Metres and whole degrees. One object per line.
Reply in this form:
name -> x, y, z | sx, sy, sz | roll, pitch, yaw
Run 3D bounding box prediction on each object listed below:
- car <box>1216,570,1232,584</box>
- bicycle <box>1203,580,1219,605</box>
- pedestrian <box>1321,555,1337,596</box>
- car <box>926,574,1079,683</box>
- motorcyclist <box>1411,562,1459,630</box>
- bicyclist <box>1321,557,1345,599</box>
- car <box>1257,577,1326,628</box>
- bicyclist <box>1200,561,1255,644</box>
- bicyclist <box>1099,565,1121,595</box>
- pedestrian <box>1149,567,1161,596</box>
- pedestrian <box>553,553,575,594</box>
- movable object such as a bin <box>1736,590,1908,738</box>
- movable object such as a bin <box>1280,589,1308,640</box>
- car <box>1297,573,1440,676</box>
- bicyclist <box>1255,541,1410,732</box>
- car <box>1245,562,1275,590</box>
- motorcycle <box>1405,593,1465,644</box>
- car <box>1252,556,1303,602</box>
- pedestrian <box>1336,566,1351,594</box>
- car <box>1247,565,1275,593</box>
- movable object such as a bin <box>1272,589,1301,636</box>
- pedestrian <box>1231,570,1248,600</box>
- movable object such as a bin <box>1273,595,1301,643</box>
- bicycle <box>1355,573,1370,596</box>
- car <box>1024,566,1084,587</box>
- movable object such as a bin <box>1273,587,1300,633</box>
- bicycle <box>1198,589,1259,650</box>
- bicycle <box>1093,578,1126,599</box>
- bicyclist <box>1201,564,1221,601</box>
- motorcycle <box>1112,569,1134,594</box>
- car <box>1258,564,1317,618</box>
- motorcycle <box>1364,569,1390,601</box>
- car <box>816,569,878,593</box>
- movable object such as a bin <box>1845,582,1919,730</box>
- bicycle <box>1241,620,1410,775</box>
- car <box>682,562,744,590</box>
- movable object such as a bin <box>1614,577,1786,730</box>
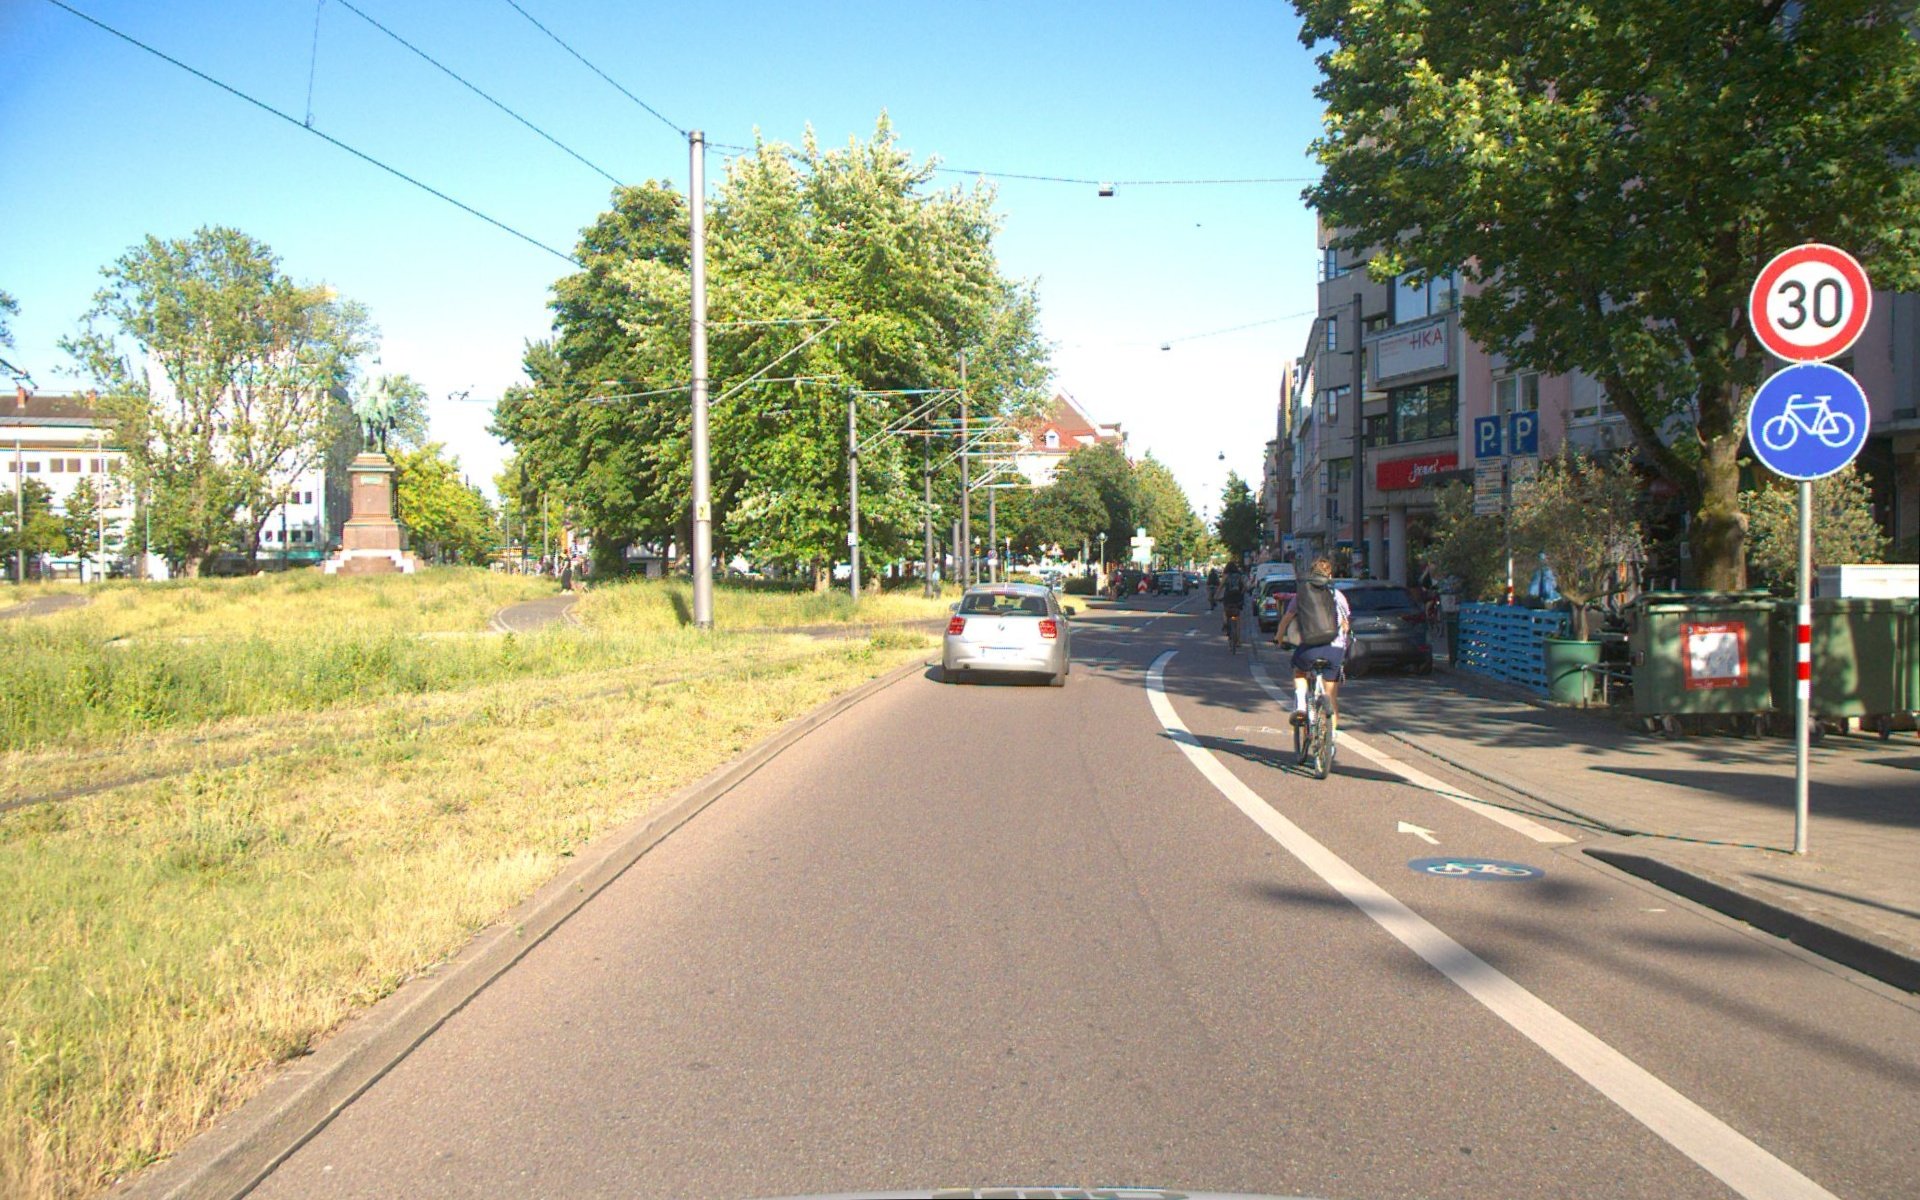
car -> 33.568, -2.925, 210.316 | 1.830, 1.583, 4.003 | 1, 0, 10
bicycle -> 10.268, -0.312, 67.691 | 0.638, 0.975, 2.700 | 1, 0, 8
pedestrian -> 17.111, -1.138, 76.754 | 0.656, 1.888, 0.611 | -3, -1, 13
car -> 0.729, 0.382, 24.578 | 1.951, 1.448, 4.199 | 1, 0, 6
motorcyclist -> 11.216, -0.096, 39.038 | 0.879, 1.578, 0.806 | 1, 0, 0
bicyclist -> 12.437, -0.729, 55.139 | 0.742, 1.349, 0.995 | 1, 0, 11
car -> 9.481, 0.067, 47.204 | 1.812, 1.367, 4.603 | 1, 0, 12
bicyclist -> 5.517, 0.049, 34.102 | 0.920, 1.662, 0.935 | 1, 0, -3
bicyclist -> 7.930, -1.053, 87.633 | 0.914, 1.533, 0.821 | 1, 0, -18
pedestrian -> 11.846, -1.126, 100.516 | 0.622, 1.701, 0.693 | 1, 0, 10
pedestrian -> -16.376, -1.094, 68.350 | 0.669, 1.644, 0.546 | 1, 0, -43
movable object such as a bin -> 8.318, 0.602, 15.990 | 1.152, 1.379, 0.924 | 1, 0, -13
movable object such as a bin -> 7.429, 0.317, 36.789 | 0.561, 1.101, 0.571 | 1, 0, 6
car -> 6.530, 0.337, 26.868 | 1.728, 1.463, 4.587 | -1, 1, 7
bicyclist -> 3.066, 0.294, 13.716 | 1.017, 1.510, 0.988 | 1, 0, -2
car -> 22.086, -1.792, 121.898 | 1.951, 2.039, 5.122 | 0, 1, 8
motorcycle -> 11.198, 0.420, 39.067 | 0.760, 1.146, 2.298 | 1, 0, 0
car -> 13.202, -0.840, 68.925 | 1.951, 1.844, 4.313 | 1, 0, 9
pedestrian -> 17.762, -0.908, 76.554 | 0.616, 1.258, 0.625 | -2, -1, 13
car -> 20.299, -1.381, 111.653 | 1.708, 1.769, 4.964 | 1, 0, 9
movable object such as a bin -> 7.625, 0.288, 38.669 | 0.593, 1.087, 0.614 | 1, 0, 6
pedestrian -> 16.399, -0.863, 97.169 | 0.658, 1.729, 0.800 | 1, 0, -22
movable object such as a bin -> 7.534, 0.432, 38.085 | 0.578, 1.087, 0.496 | 1, 0, 6
bicycle -> 18.135, -0.694, 74.501 | 0.551, 1.052, 1.646 | 1, 0, 10
car -> 8.780, -2.166, 154.060 | 5.180, 1.831, 2.153 | 1, 0, -17
movable object such as a bin -> 7.986, 0.243, 40.481 | 0.580, 1.102, 0.605 | 1, 0, 7
bicycle -> 5.505, 0.378, 33.993 | 0.803, 1.206, 1.963 | 1, 0, -4
bicycle -> 7.915, -0.606, 87.671 | 0.797, 1.087, 2.571 | 1, 0, -17
bicyclist -> 10.247, -0.722, 67.551 | 0.769, 1.478, 1.096 | 1, 0, 8
motorcycle -> 9.237, -1.043, 93.744 | 0.733, 1.398, 1.755 | 1, 0, -13
car -> 11.086, -0.291, 56.133 | 1.812, 1.718, 3.870 | 1, 0, 9
motorcycle -> 16.015, -0.577, 63.479 | 0.748, 1.175, 2.048 | -3, -1, 19
car -> -10.471, -1.743, 153.711 | 5.487, 2.049, 1.809 | 1, 0, -17
movable object such as a bin -> 9.640, 0.544, 16.396 | 1.192, 1.415, 0.956 | 1, 0, -13
bicycle -> 3.041, 0.776, 14.015 | 0.867, 1.155, 2.228 | 1, 0, -2
car -> -21.729, -2.090, 145.440 | 5.245, 2.354, 1.993 | 1, 0, -14
movable object such as a bin -> 7.115, 0.499, 15.963 | 1.253, 1.416, 0.922 | 1, 0, 3
